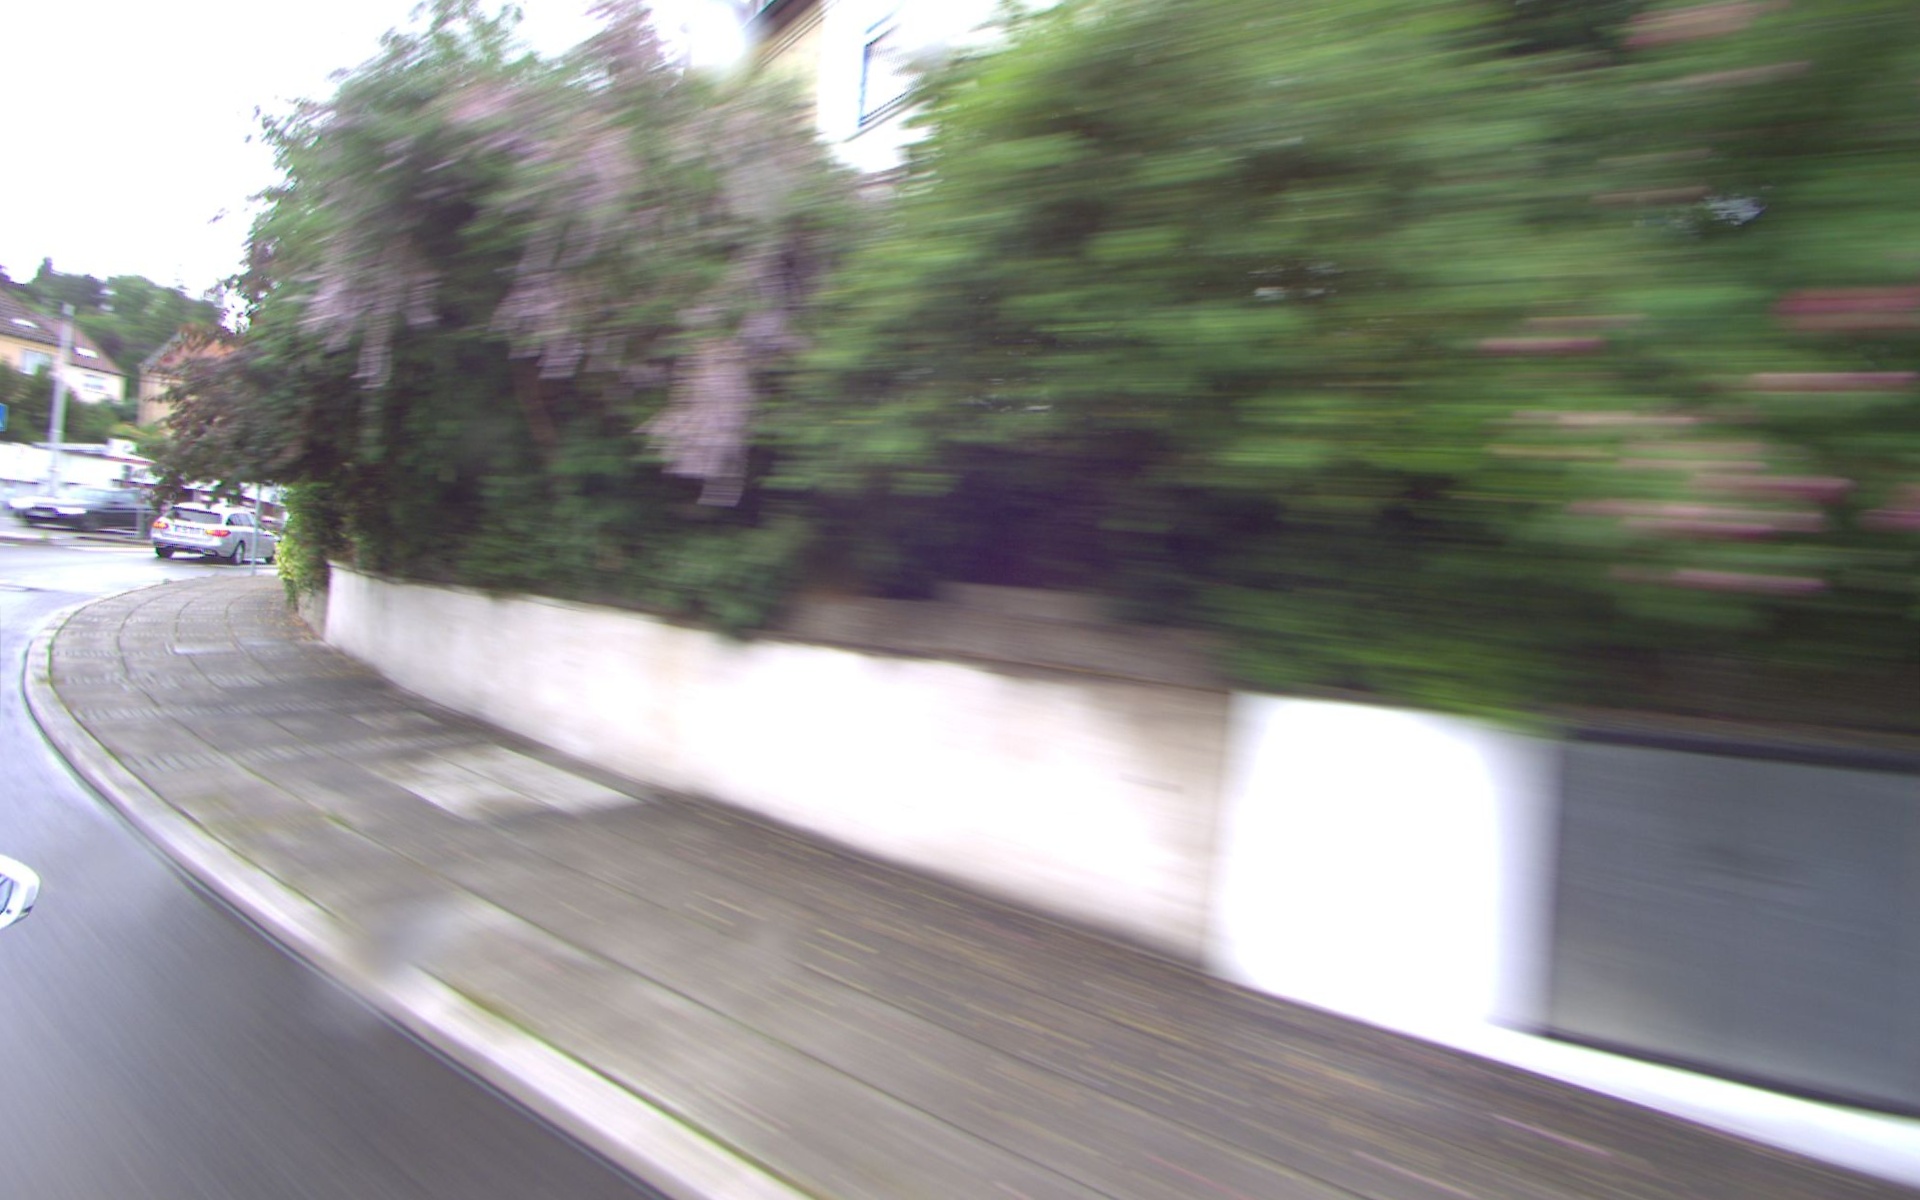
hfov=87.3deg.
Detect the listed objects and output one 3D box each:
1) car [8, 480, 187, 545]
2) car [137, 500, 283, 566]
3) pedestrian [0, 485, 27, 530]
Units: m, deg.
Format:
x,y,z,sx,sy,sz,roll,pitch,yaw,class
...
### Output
x,y,z,sx,sy,sz,roll,pitch,yaw,class
-27.852,-2.781,32.719,1.841,1.510,4.637,4,-1,-1,car
-19.889,-1.724,26.895,1.790,1.377,3.985,7,0,-17,car
-40.626,-3.960,43.178,0.701,1.828,0.800,6,1,-39,pedestrian
